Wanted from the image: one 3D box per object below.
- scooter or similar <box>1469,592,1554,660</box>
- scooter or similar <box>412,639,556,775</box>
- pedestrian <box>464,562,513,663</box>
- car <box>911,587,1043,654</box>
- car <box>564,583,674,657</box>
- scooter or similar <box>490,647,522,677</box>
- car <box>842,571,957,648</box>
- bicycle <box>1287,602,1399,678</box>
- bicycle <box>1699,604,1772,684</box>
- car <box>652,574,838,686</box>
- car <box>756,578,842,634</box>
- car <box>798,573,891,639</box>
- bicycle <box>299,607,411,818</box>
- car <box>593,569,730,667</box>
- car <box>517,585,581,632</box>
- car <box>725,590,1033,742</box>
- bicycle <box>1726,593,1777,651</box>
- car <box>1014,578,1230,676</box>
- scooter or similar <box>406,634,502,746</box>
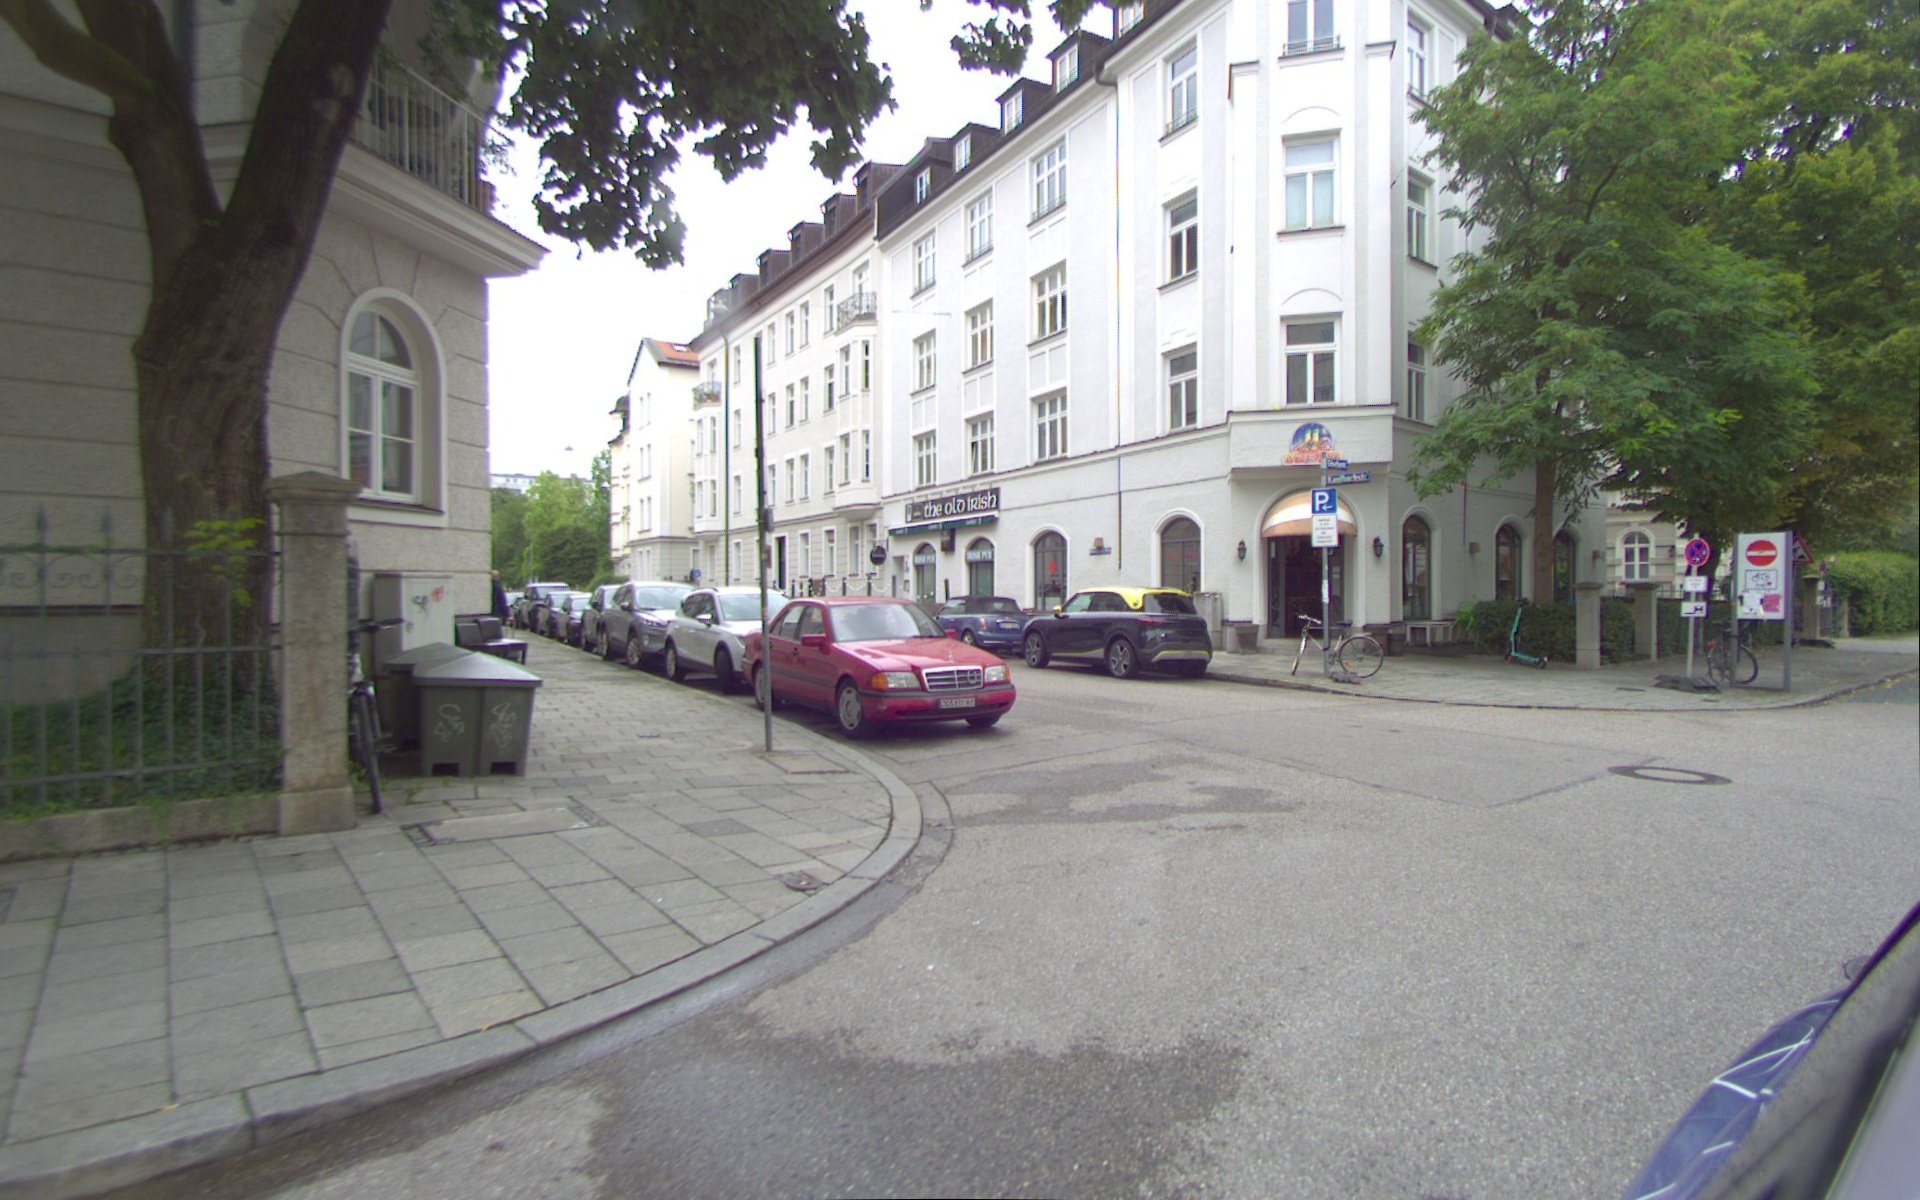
[{"bbox_3d":[10.492,0.469,19.307,0.396,1.187,1.611,-1,2,-16],"label":"scooter or similar"},{"bbox_3d":[-3.662,0.769,7.746,0.906,0.859,1.188,-1,1,-29],"label":"scooter or similar"},{"bbox_3d":[-9.087,0.229,19.506,0.730,1.899,0.494,-1,0,-44],"label":"pedestrian"},{"bbox_3d":[0.326,0.442,24.062,1.666,1.443,3.545,-1,1,-27],"label":"car"},{"bbox_3d":[-8.634,0.426,25.370,1.852,1.684,4.298,0,1,-29],"label":"car"},{"bbox_3d":[-8.563,1.162,19.081,0.381,0.508,0.452,0,0,45],"label":"scooter or similar"},{"bbox_3d":[-1.778,0.219,28.381,1.738,1.994,3.937,-1,1,-28],"label":"car"},{"bbox_3d":[6.370,0.637,16.892,0.725,1.081,1.606,-5,5,-36],"label":"bicycle"},{"bbox_3d":[12.109,0.665,15.793,1.558,1.161,0.390,-1,1,-33],"label":"bicycle"},{"bbox_3d":[-3.481,0.387,15.885,1.535,1.540,3.900,-1,1,-33],"label":"car"},{"bbox_3d":[-5.742,0.175,35.719,1.708,1.835,4.004,-1,1,-29],"label":"car"},{"bbox_3d":[-3.711,0.164,31.929,1.695,1.959,3.665,-1,1,-28],"label":"car"},{"bbox_3d":[-3.912,0.640,6.620,0.551,1.138,1.846,0,1,-29],"label":"bicycle"},{"bbox_3d":[-6.046,0.277,20.142,1.717,1.733,4.348,0,1,-29],"label":"car"},{"bbox_3d":[-15.934,0.279,39.128,1.795,1.692,4.062,-1,1,-29],"label":"car"},{"bbox_3d":[-1.159,0.582,11.698,1.725,1.375,4.486,0,1,-31],"label":"car"},{"bbox_3d":[17.746,0.474,22.675,1.699,1.212,0.429,-1,6,-39],"label":"bicycle"},{"bbox_3d":[2.914,0.427,19.090,1.867,1.617,4.092,-1,1,-29],"label":"car"},{"bbox_3d":[-4.434,0.745,8.827,0.683,0.836,1.243,-1,0,-29],"label":"scooter or similar"}]
